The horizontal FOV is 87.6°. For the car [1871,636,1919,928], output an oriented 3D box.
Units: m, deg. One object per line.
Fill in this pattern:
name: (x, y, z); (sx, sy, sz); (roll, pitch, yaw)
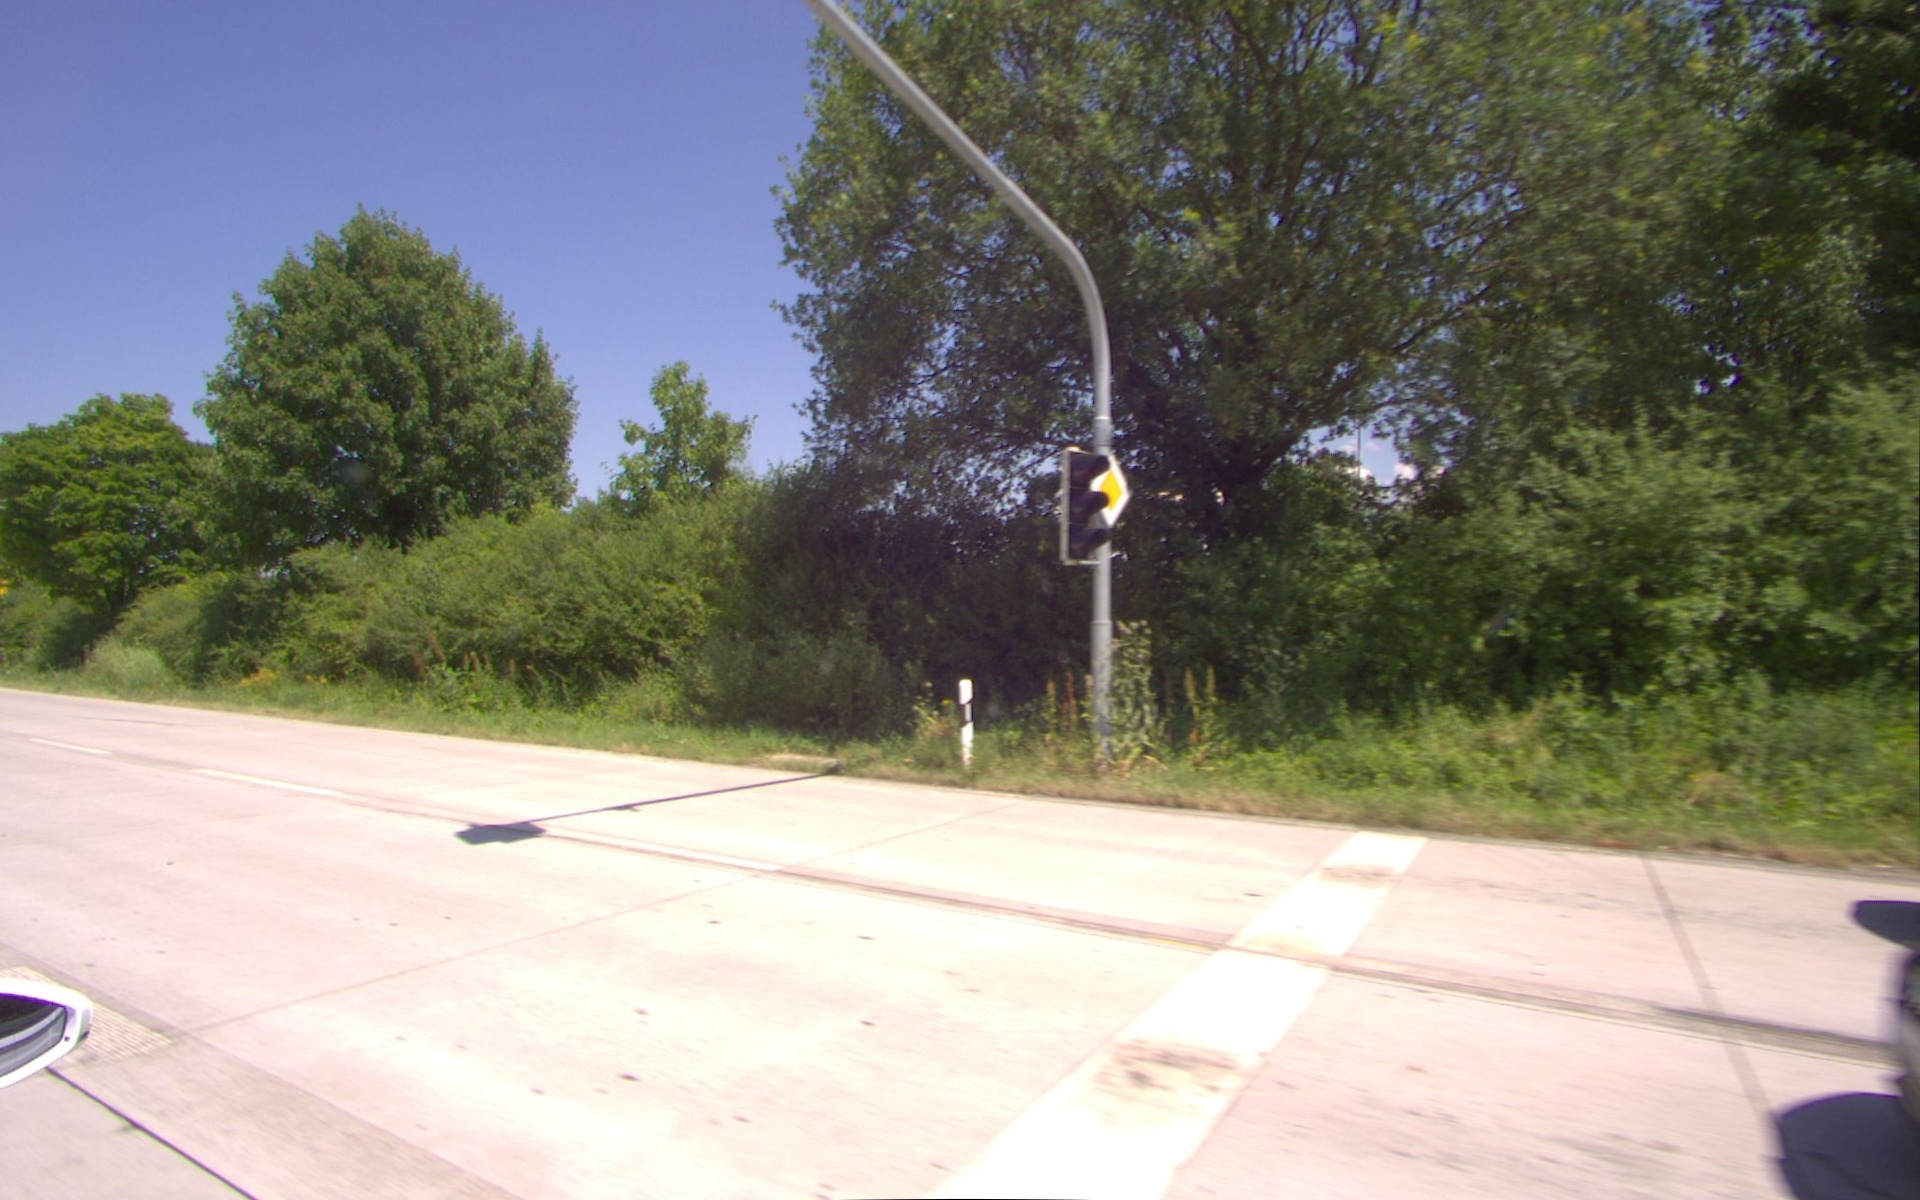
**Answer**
car: (6.506, 0.911, 4.194); (3.594, 1.528, 1.767); (-1, -2, 27)

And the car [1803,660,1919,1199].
car: (4.299, 0.834, 1.360); (4.541, 1.428, 1.766); (-1, -2, 30)
